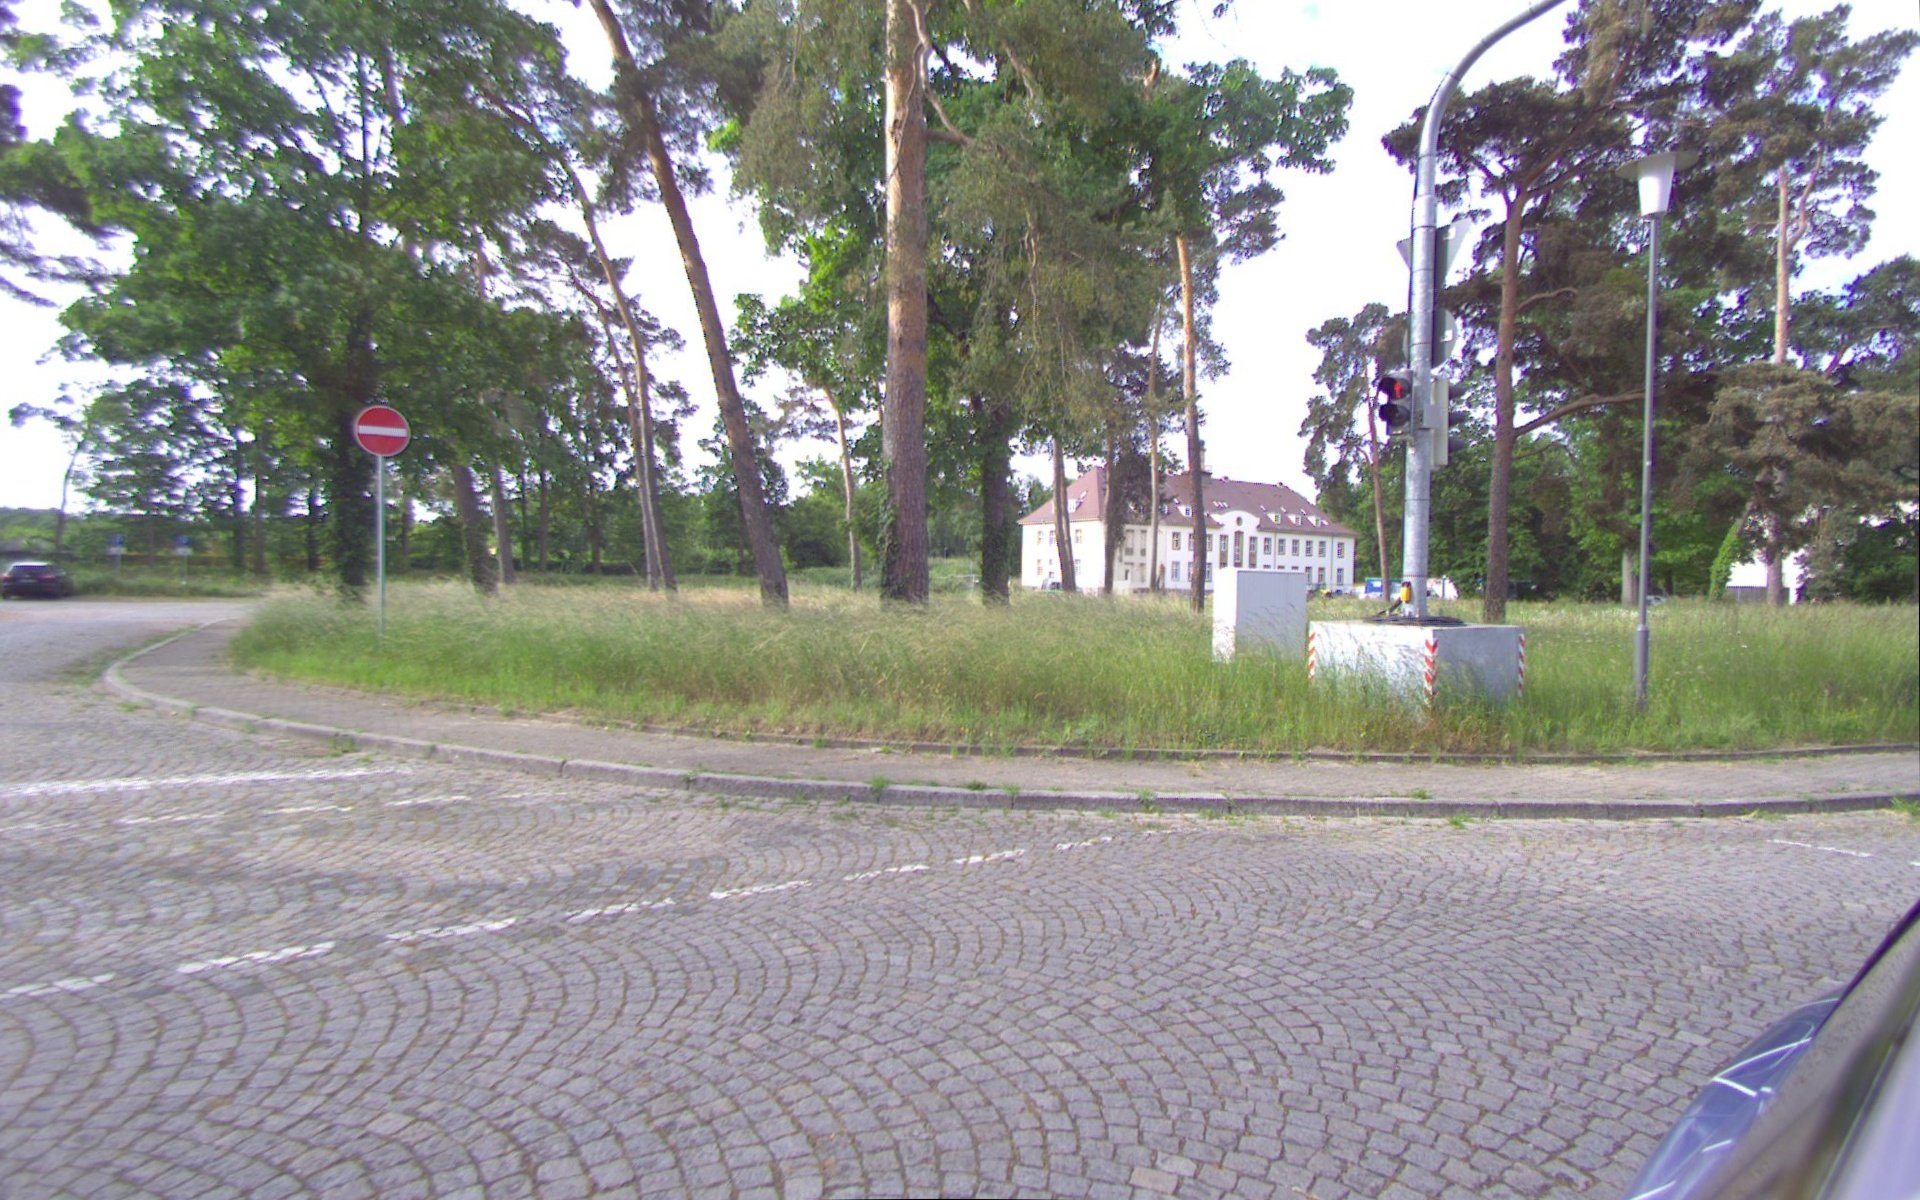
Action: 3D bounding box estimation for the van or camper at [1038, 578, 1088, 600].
[{"bbox_3d":[12.067,-1.317,119.014,2.417,2.335,6.131,0,1,-33],"label":"van or camper"}]

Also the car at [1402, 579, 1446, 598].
[{"bbox_3d":[51.251,-1.281,111.794,4.741,2.039,2.169,0,1,-33],"label":"car"}]

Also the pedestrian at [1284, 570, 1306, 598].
[{"bbox_3d":[26.646,-1.279,80.488,1.035,2.205,1.186,1,1,-31],"label":"pedestrian"}]

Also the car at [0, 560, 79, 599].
[{"bbox_3d":[-38.407,-0.861,42.086,1.960,1.552,4.005,0,1,-30],"label":"car"}]
